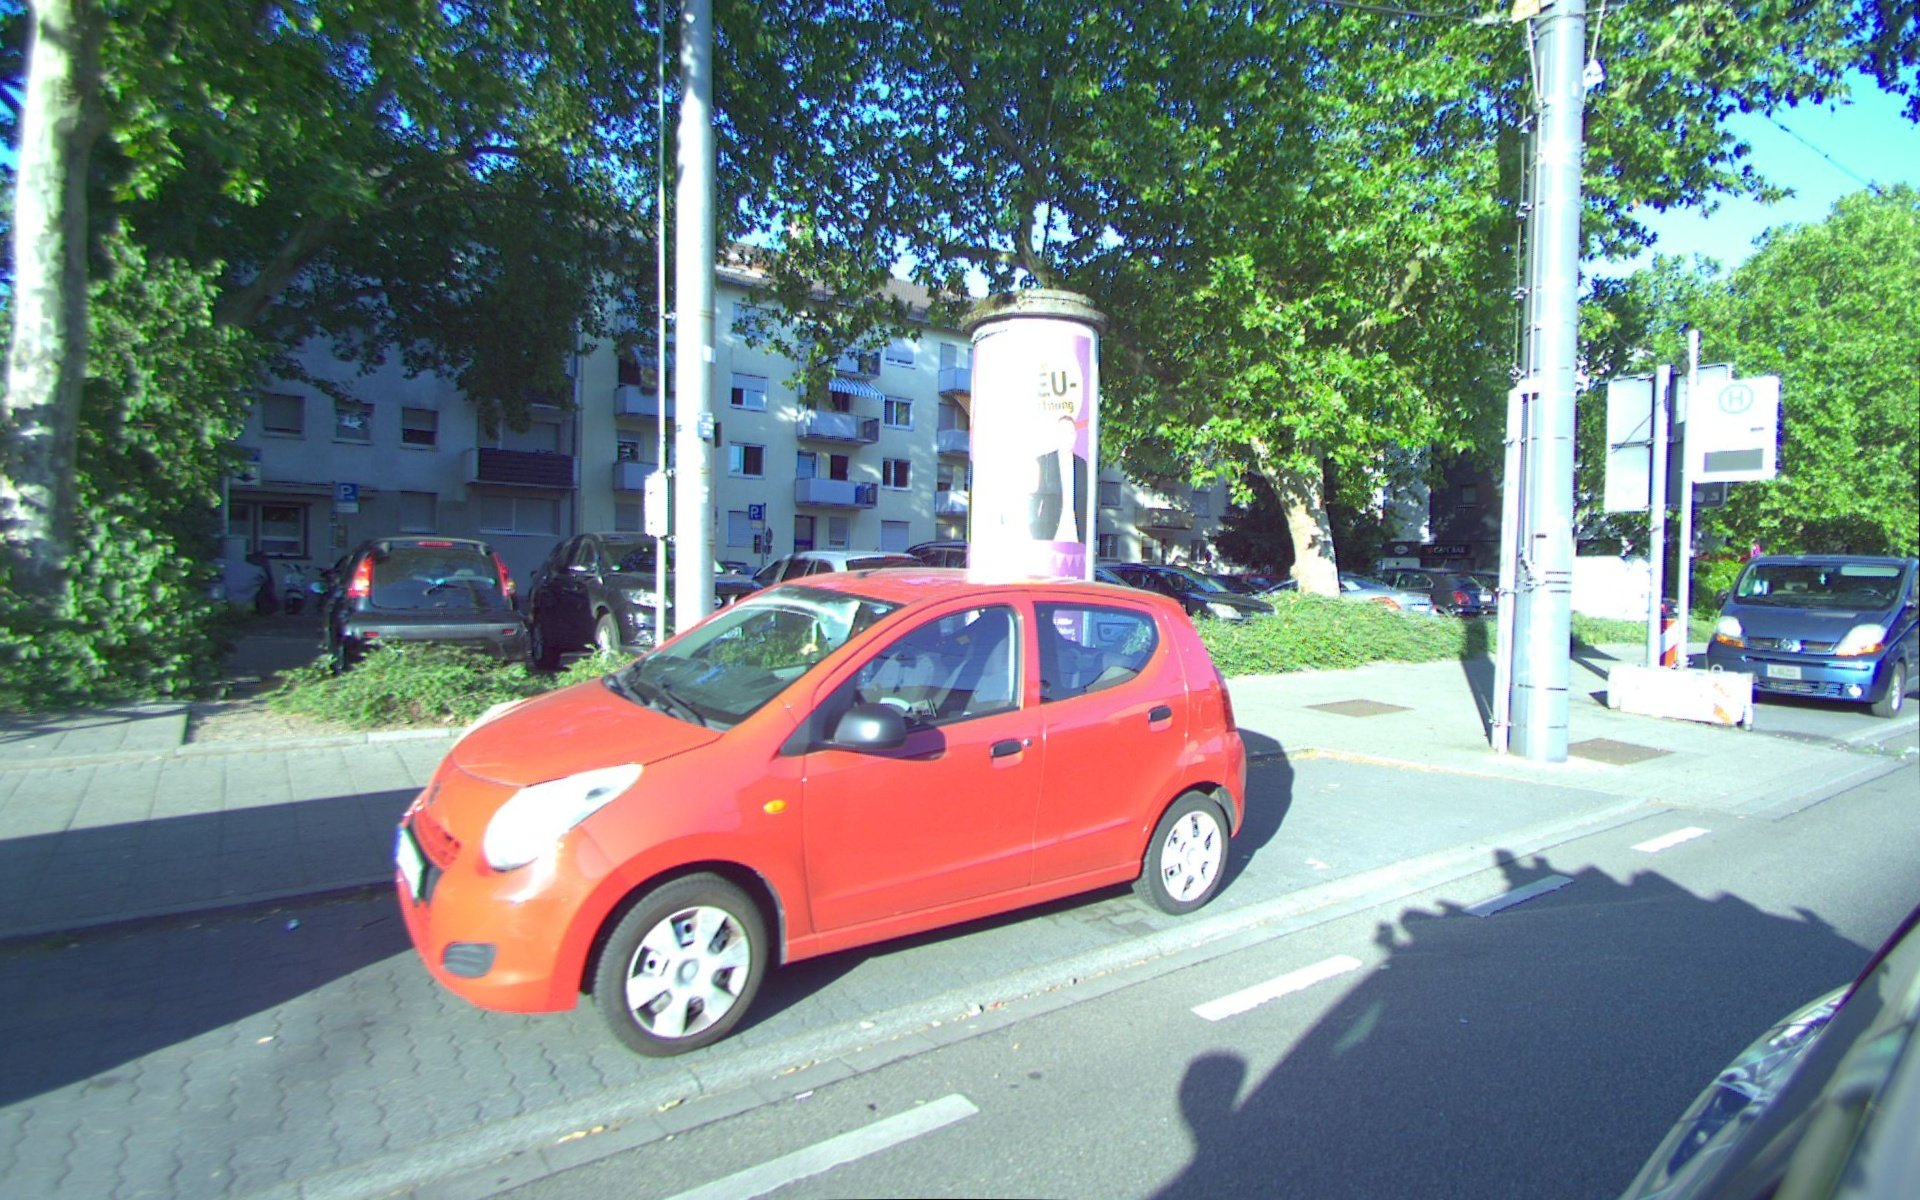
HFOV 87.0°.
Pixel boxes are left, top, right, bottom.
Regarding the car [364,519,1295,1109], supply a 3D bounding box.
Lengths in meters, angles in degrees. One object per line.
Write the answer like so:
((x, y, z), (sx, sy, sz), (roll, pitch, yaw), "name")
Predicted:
((-0.385, 0.503, 4.282), (3.558, 1.512, 1.575), (0, 4, -36), "car")

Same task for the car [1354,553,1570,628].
((11.431, -0.195, 23.293), (1.768, 1.570, 4.126), (0, 0, -34), "car")

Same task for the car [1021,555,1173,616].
((4.106, -0.479, 30.903), (1.964, 1.712, 4.453), (0, 2, -39), "car")

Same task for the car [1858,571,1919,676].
((16.866, 0.374, 17.016), (3.925, 1.650, 1.802), (0, 2, -36), "car")

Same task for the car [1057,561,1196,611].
((5.372, -0.495, 33.086), (1.964, 1.514, 4.292), (0, 2, -39), "car")

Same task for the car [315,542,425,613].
((-14.247, -0.570, 24.343), (1.962, 1.553, 4.063), (0, 2, -35), "car")

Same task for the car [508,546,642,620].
((-8.997, -0.435, 23.442), (1.962, 1.553, 4.064), (0, 2, -35), "car")

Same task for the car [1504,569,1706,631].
((17.667, -0.054, 27.887), (1.964, 1.514, 4.292), (0, 2, -39), "car")

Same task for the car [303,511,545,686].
((-5.713, 0.009, 10.583), (1.741, 1.502, 3.507), (0, -1, -36), "car")

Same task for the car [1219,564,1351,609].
((11.959, -0.532, 37.451), (1.964, 1.514, 4.292), (0, 2, -39), "car")

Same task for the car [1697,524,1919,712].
((11.733, 0.157, 13.366), (4.477, 2.104, 1.891), (0, 2, -36), "car")

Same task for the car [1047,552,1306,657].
((3.459, -0.023, 16.866), (1.768, 1.513, 4.127), (0, 2, -34), "car")

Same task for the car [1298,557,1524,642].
((9.585, -0.081, 21.807), (1.768, 1.618, 4.127), (0, 2, -34), "car")

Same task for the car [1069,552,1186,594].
((6.465, -1.063, 39.452), (1.964, 1.514, 4.292), (0, 3, -39), "car")

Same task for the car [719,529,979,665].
((-1.606, -0.013, 13.353), (1.821, 1.514, 3.852), (0, -1, -34), "car")

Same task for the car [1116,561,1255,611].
((7.586, -0.521, 34.346), (1.964, 1.553, 4.292), (0, 2, -39), "car")

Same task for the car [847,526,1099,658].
((0.058, -0.114, 14.808), (1.821, 1.652, 3.853), (0, 0, -34), "car")

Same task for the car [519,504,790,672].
((-3.745, -0.092, 11.921), (1.822, 1.621, 4.032), (0, -1, -36), "car")

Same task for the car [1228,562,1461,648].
((7.636, 0.028, 20.494), (1.768, 1.513, 4.127), (0, 2, -34), "car")

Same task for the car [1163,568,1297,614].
((9.569, -0.364, 36.184), (1.964, 1.514, 4.292), (0, 2, -39), "car")

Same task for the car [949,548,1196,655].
((1.632, 0.034, 15.862), (1.768, 1.455, 3.853), (2, -1, -34), "car")
